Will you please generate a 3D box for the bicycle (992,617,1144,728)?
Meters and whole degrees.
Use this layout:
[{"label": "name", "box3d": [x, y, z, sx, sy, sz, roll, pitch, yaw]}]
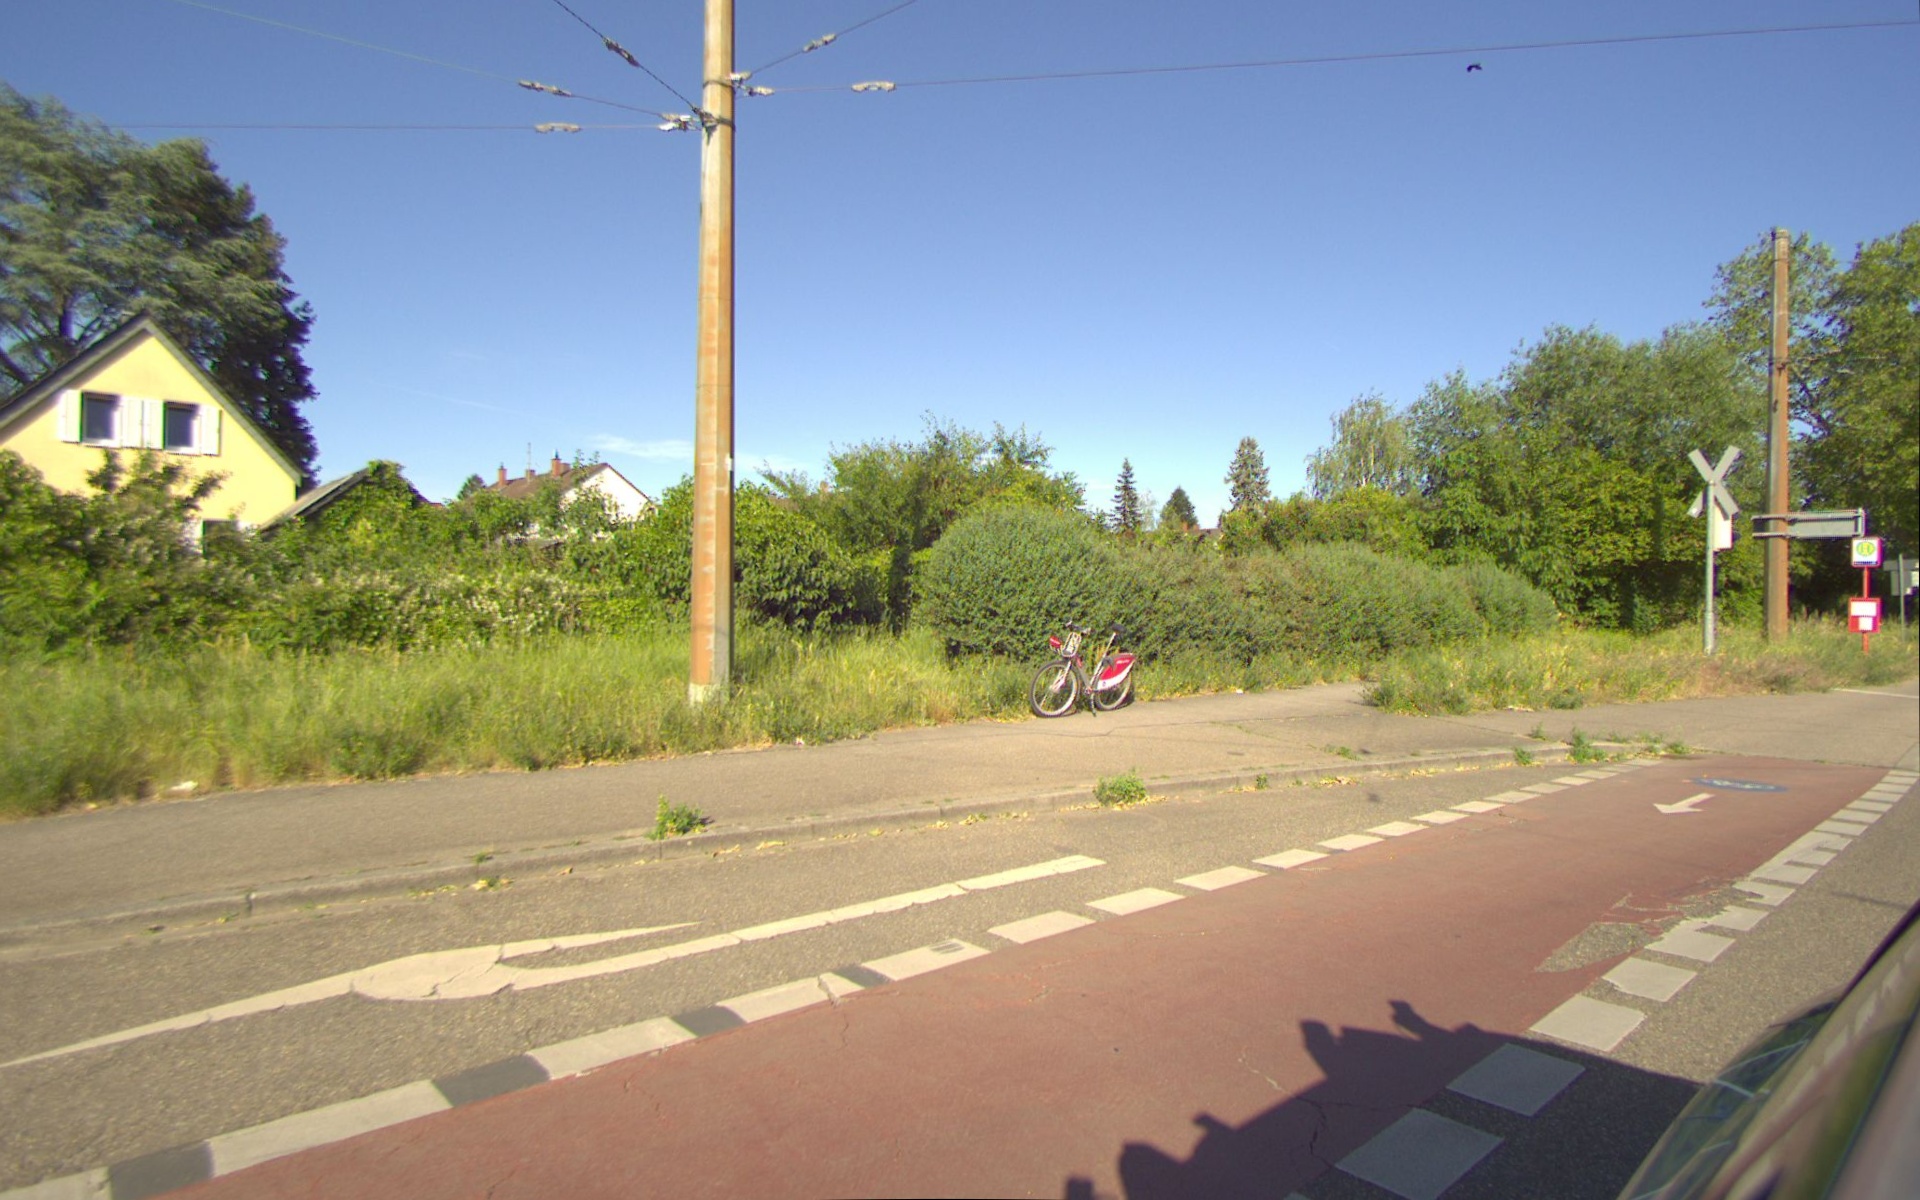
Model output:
[{"label": "bicycle", "box3d": [1.259, 0.772, 11.396, 2.058, 1.149, 0.366, 1, 0, -40]}]
